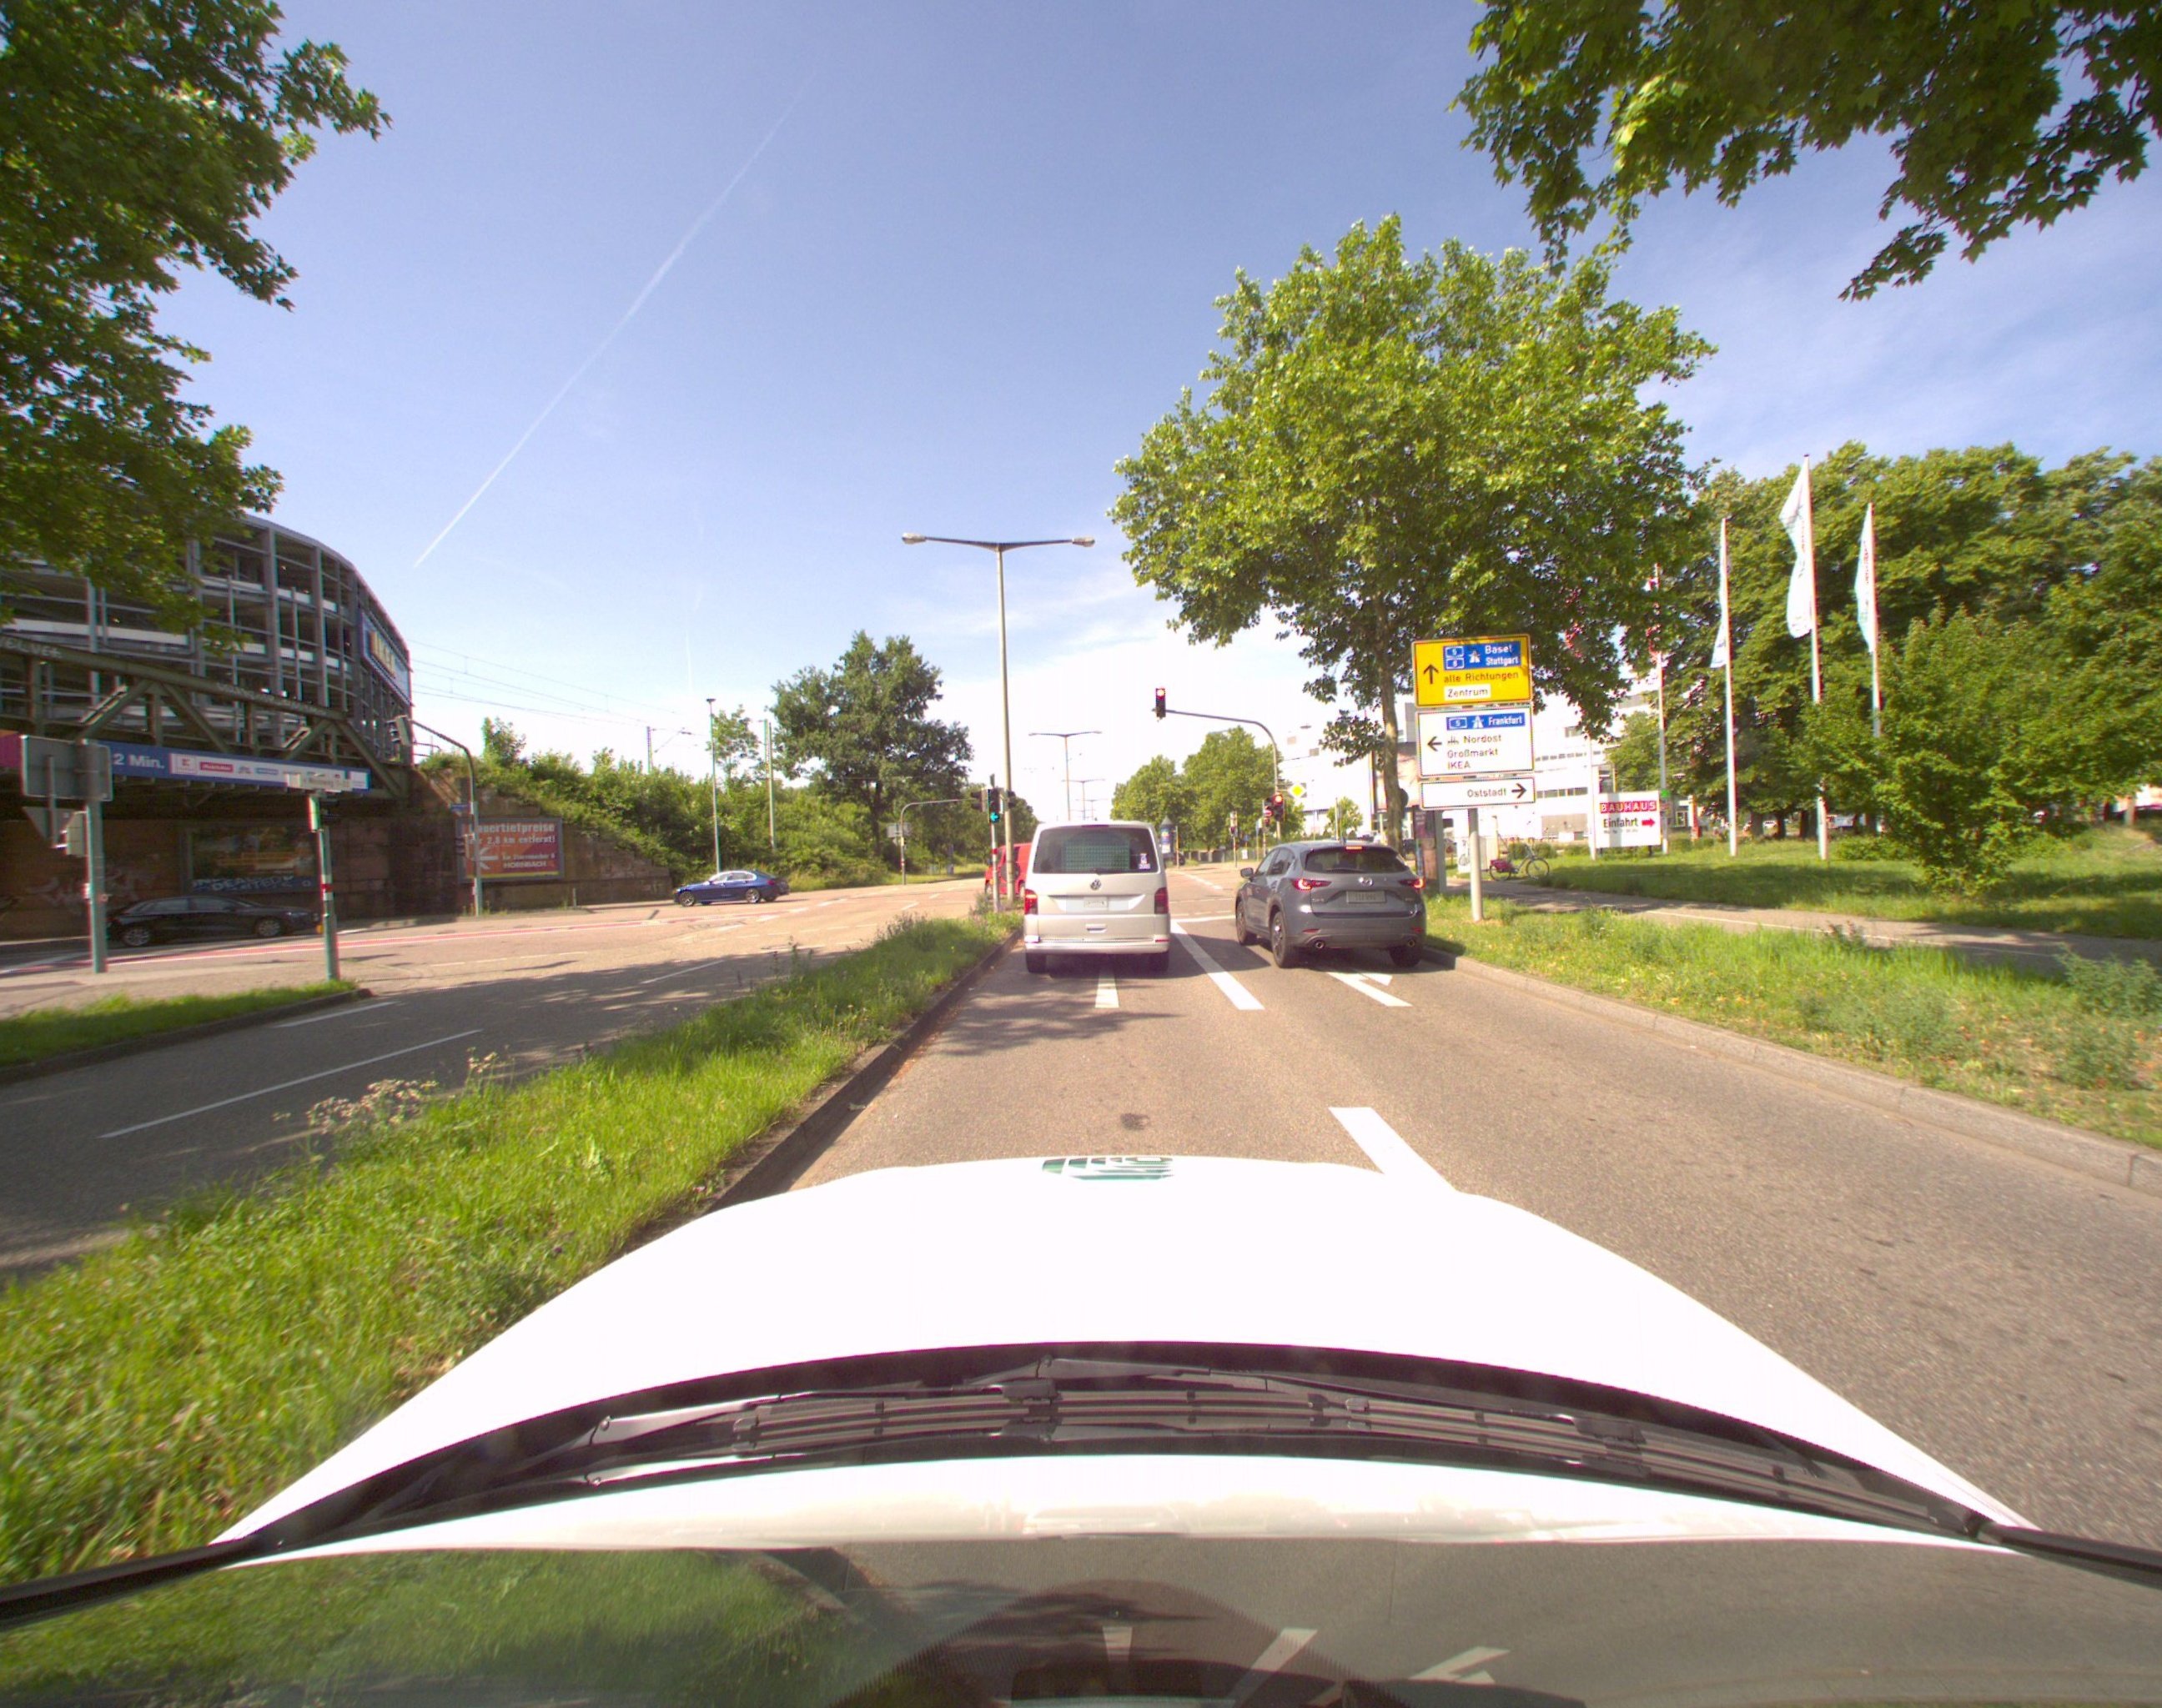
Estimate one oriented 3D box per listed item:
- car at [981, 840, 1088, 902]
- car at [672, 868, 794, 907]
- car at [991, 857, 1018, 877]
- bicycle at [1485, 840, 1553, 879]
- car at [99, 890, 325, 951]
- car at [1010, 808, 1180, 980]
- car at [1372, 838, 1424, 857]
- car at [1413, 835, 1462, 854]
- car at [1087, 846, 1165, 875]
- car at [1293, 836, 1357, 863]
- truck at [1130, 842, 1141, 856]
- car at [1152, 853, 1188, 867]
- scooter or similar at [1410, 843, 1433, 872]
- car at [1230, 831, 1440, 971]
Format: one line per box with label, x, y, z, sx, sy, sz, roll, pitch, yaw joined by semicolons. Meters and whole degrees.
car;-1.703;0.577;28.316;1.979;1.924;4.519;-3;0;-27
car;-14.689;1.387;34.541;4.300;1.397;1.791;-3;0;-3
car;-6.362;1.043;67.946;1.844;1.561;3.999;-3;0;0
bicycle;13.838;0.187;25.745;1.771;1.108;0.506;-4;-1;20
car;-26.033;1.932;24.649;4.353;1.395;1.752;-3;0;-35
car;0.237;0.473;12.099;1.934;1.971;5.024;-2;0;2
car;26.890;-0.561;68.997;4.646;1.444;1.762;-3;0;-35
car;31.596;-0.861;72.152;4.646;1.444;1.762;-3;0;-35
car;2.641;0.395;48.567;4.338;1.510;1.863;-3;0;41
car;17.781;-0.344;59.235;4.646;1.689;1.895;-3;0;-35
truck;17.249;-1.599;257.873;3.176;4.355;13.165;-3;0;5
car;8.788;0.608;80.217;1.657;1.236;3.213;-3;0;-42
scooter or similar;13.748;0.131;32.883;0.423;1.126;1.124;-3;0;1
car;3.464;0.568;12.034;1.760;1.659;4.497;-1;0;1
